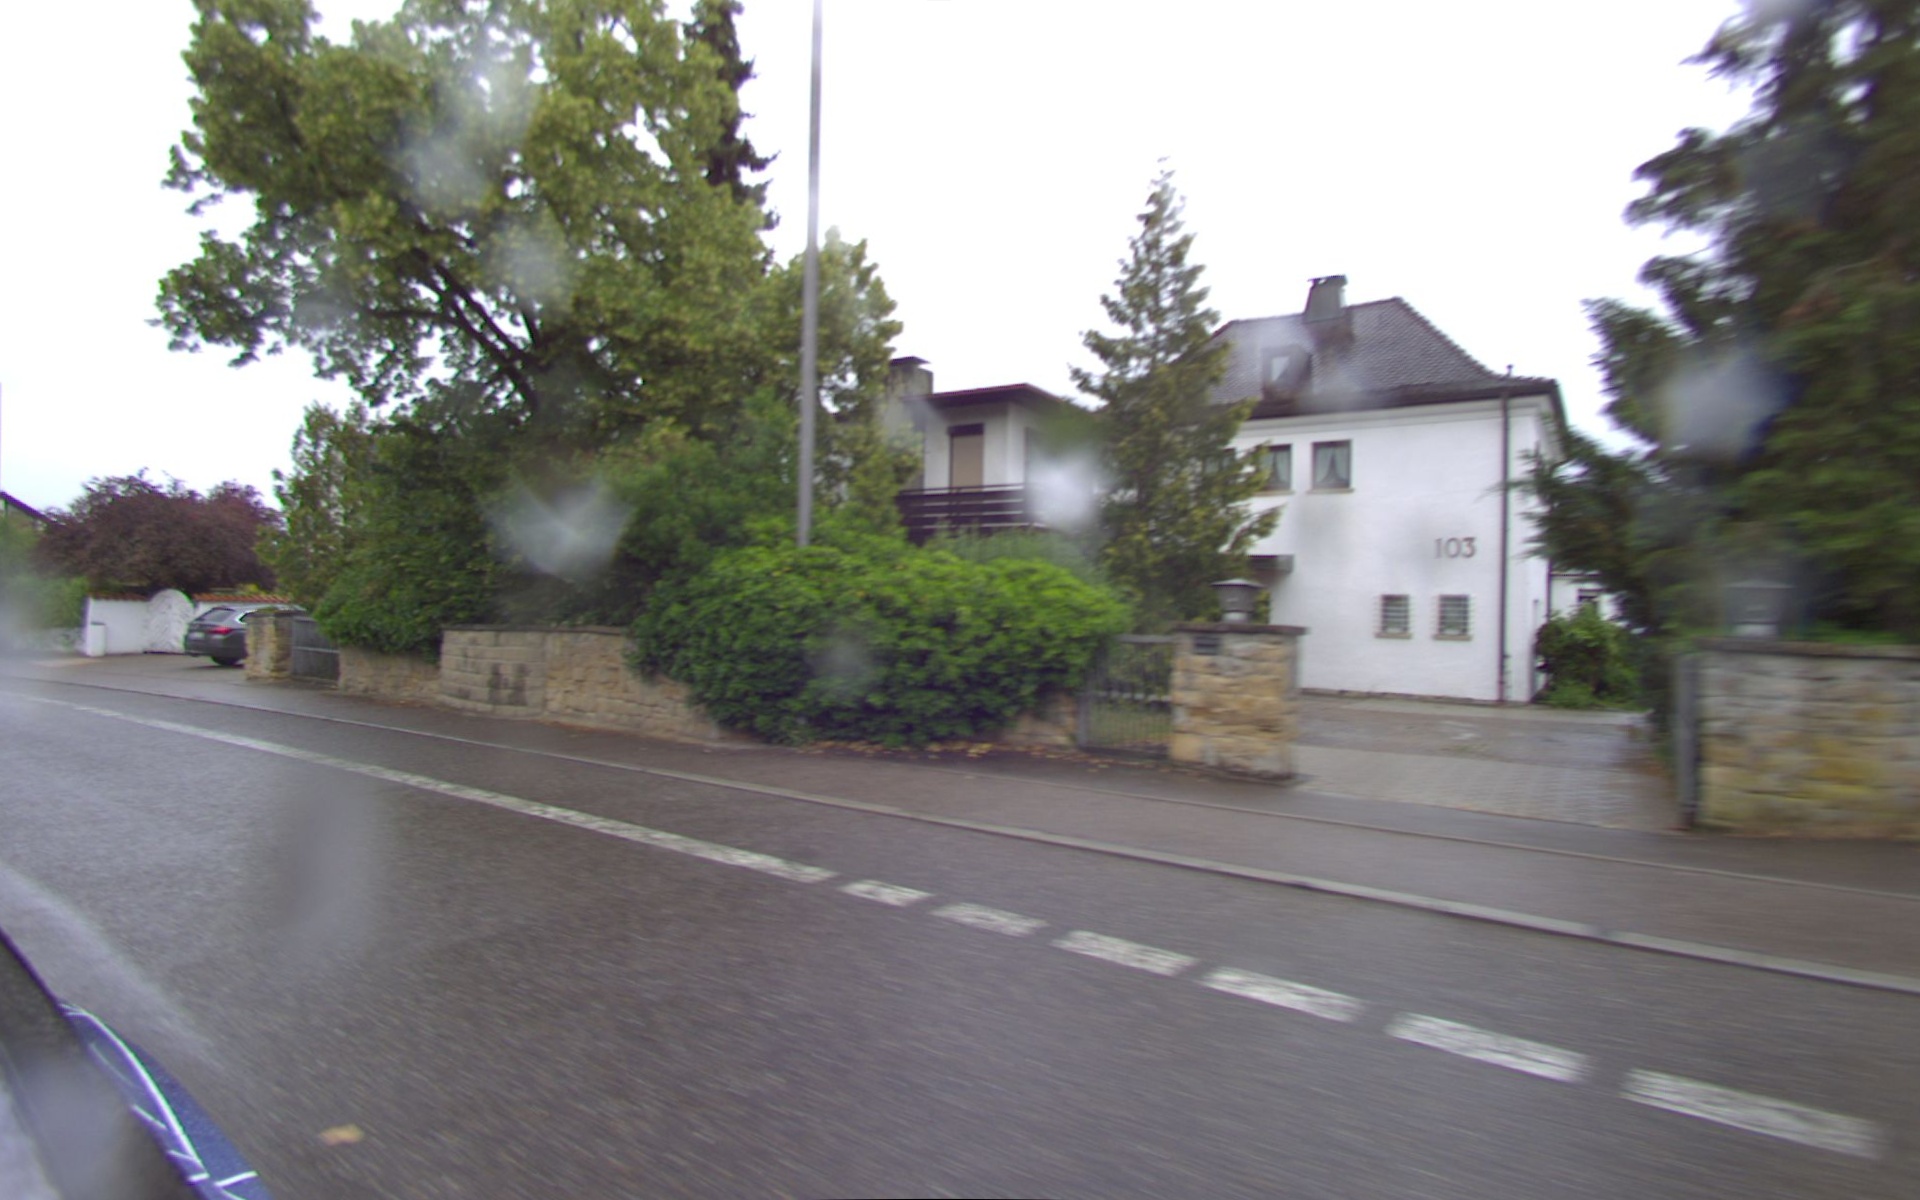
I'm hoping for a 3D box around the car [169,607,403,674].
[{"bbox_3d":[-16.475,0.934,24.997,1.831,1.487,4.509,-1,-1,29],"label":"car"}]
